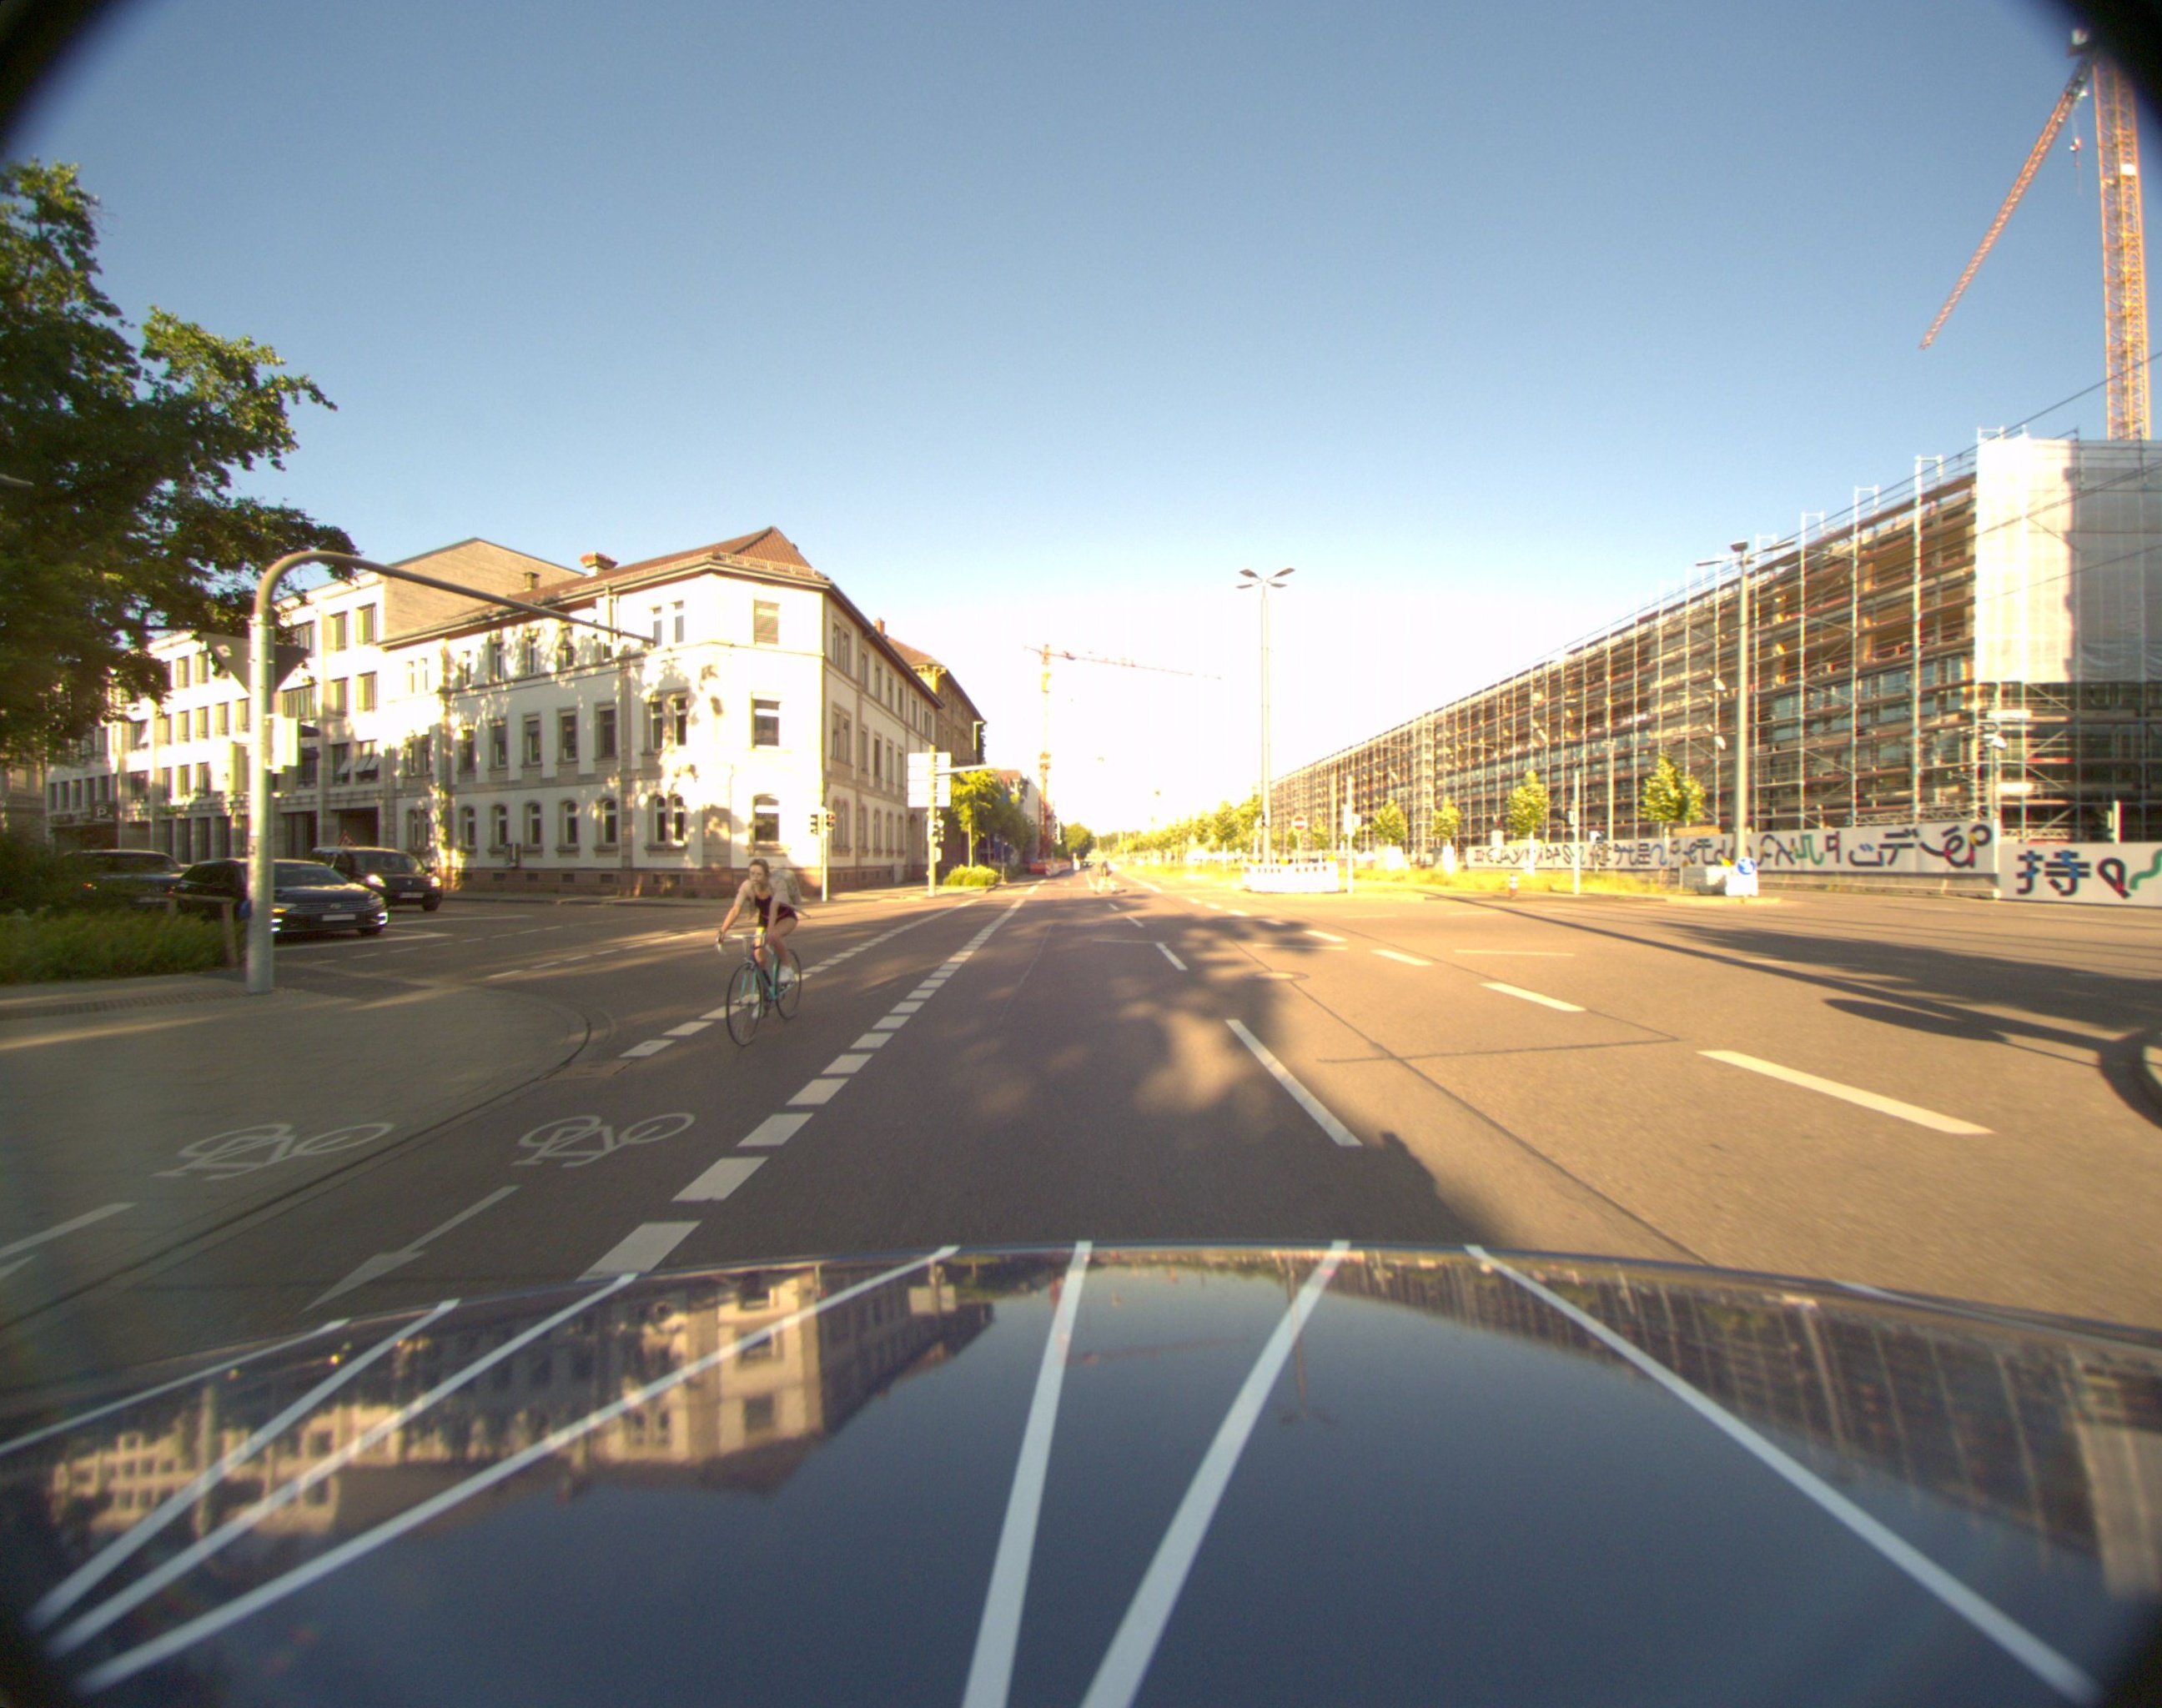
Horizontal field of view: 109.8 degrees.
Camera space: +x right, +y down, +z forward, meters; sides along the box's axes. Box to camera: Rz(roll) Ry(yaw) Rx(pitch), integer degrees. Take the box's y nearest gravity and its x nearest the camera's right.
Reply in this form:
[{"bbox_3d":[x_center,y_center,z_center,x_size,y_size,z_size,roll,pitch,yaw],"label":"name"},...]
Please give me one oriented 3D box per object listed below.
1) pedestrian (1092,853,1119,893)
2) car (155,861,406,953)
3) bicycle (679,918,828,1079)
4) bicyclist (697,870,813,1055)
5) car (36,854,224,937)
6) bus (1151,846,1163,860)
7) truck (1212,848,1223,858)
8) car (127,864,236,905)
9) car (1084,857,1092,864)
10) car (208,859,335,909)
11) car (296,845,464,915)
[{"bbox_3d":[1.037,0.794,31.591,0.925,1.639,0.766,0,1,19],"label":"pedestrian"},{"bbox_3d":[-15.226,0.902,14.433,4.590,1.465,1.906,0,1,25],"label":"car"},{"bbox_3d":[-2.853,1.198,6.830,0.522,1.091,1.842,0,1,0],"label":"bicycle"},{"bbox_3d":[-2.831,0.891,6.695,0.554,1.482,1.081,0,0,0],"label":"bicyclist"},{"bbox_3d":[-21.647,0.830,17.267,4.525,1.643,1.907,0,1,29],"label":"car"},{"bbox_3d":[17.739,-0.262,177.625,2.723,3.203,8.659,0,0,5],"label":"bus"},{"bbox_3d":[34.100,-0.170,189.555,2.143,2.559,4.741,0,0,2],"label":"truck"},{"bbox_3d":[-32.568,1.071,27.517,3.641,1.406,1.635,0,-2,25],"label":"car"},{"bbox_3d":[1.890,1.657,192.397,1.998,1.696,4.000,0,0,1],"label":"car"},{"bbox_3d":[-25.975,0.930,24.388,3.520,1.502,1.742,0,-2,25],"label":"car"},{"bbox_3d":[-19.585,0.706,21.238,4.236,1.794,1.953,0,-2,25],"label":"car"}]
